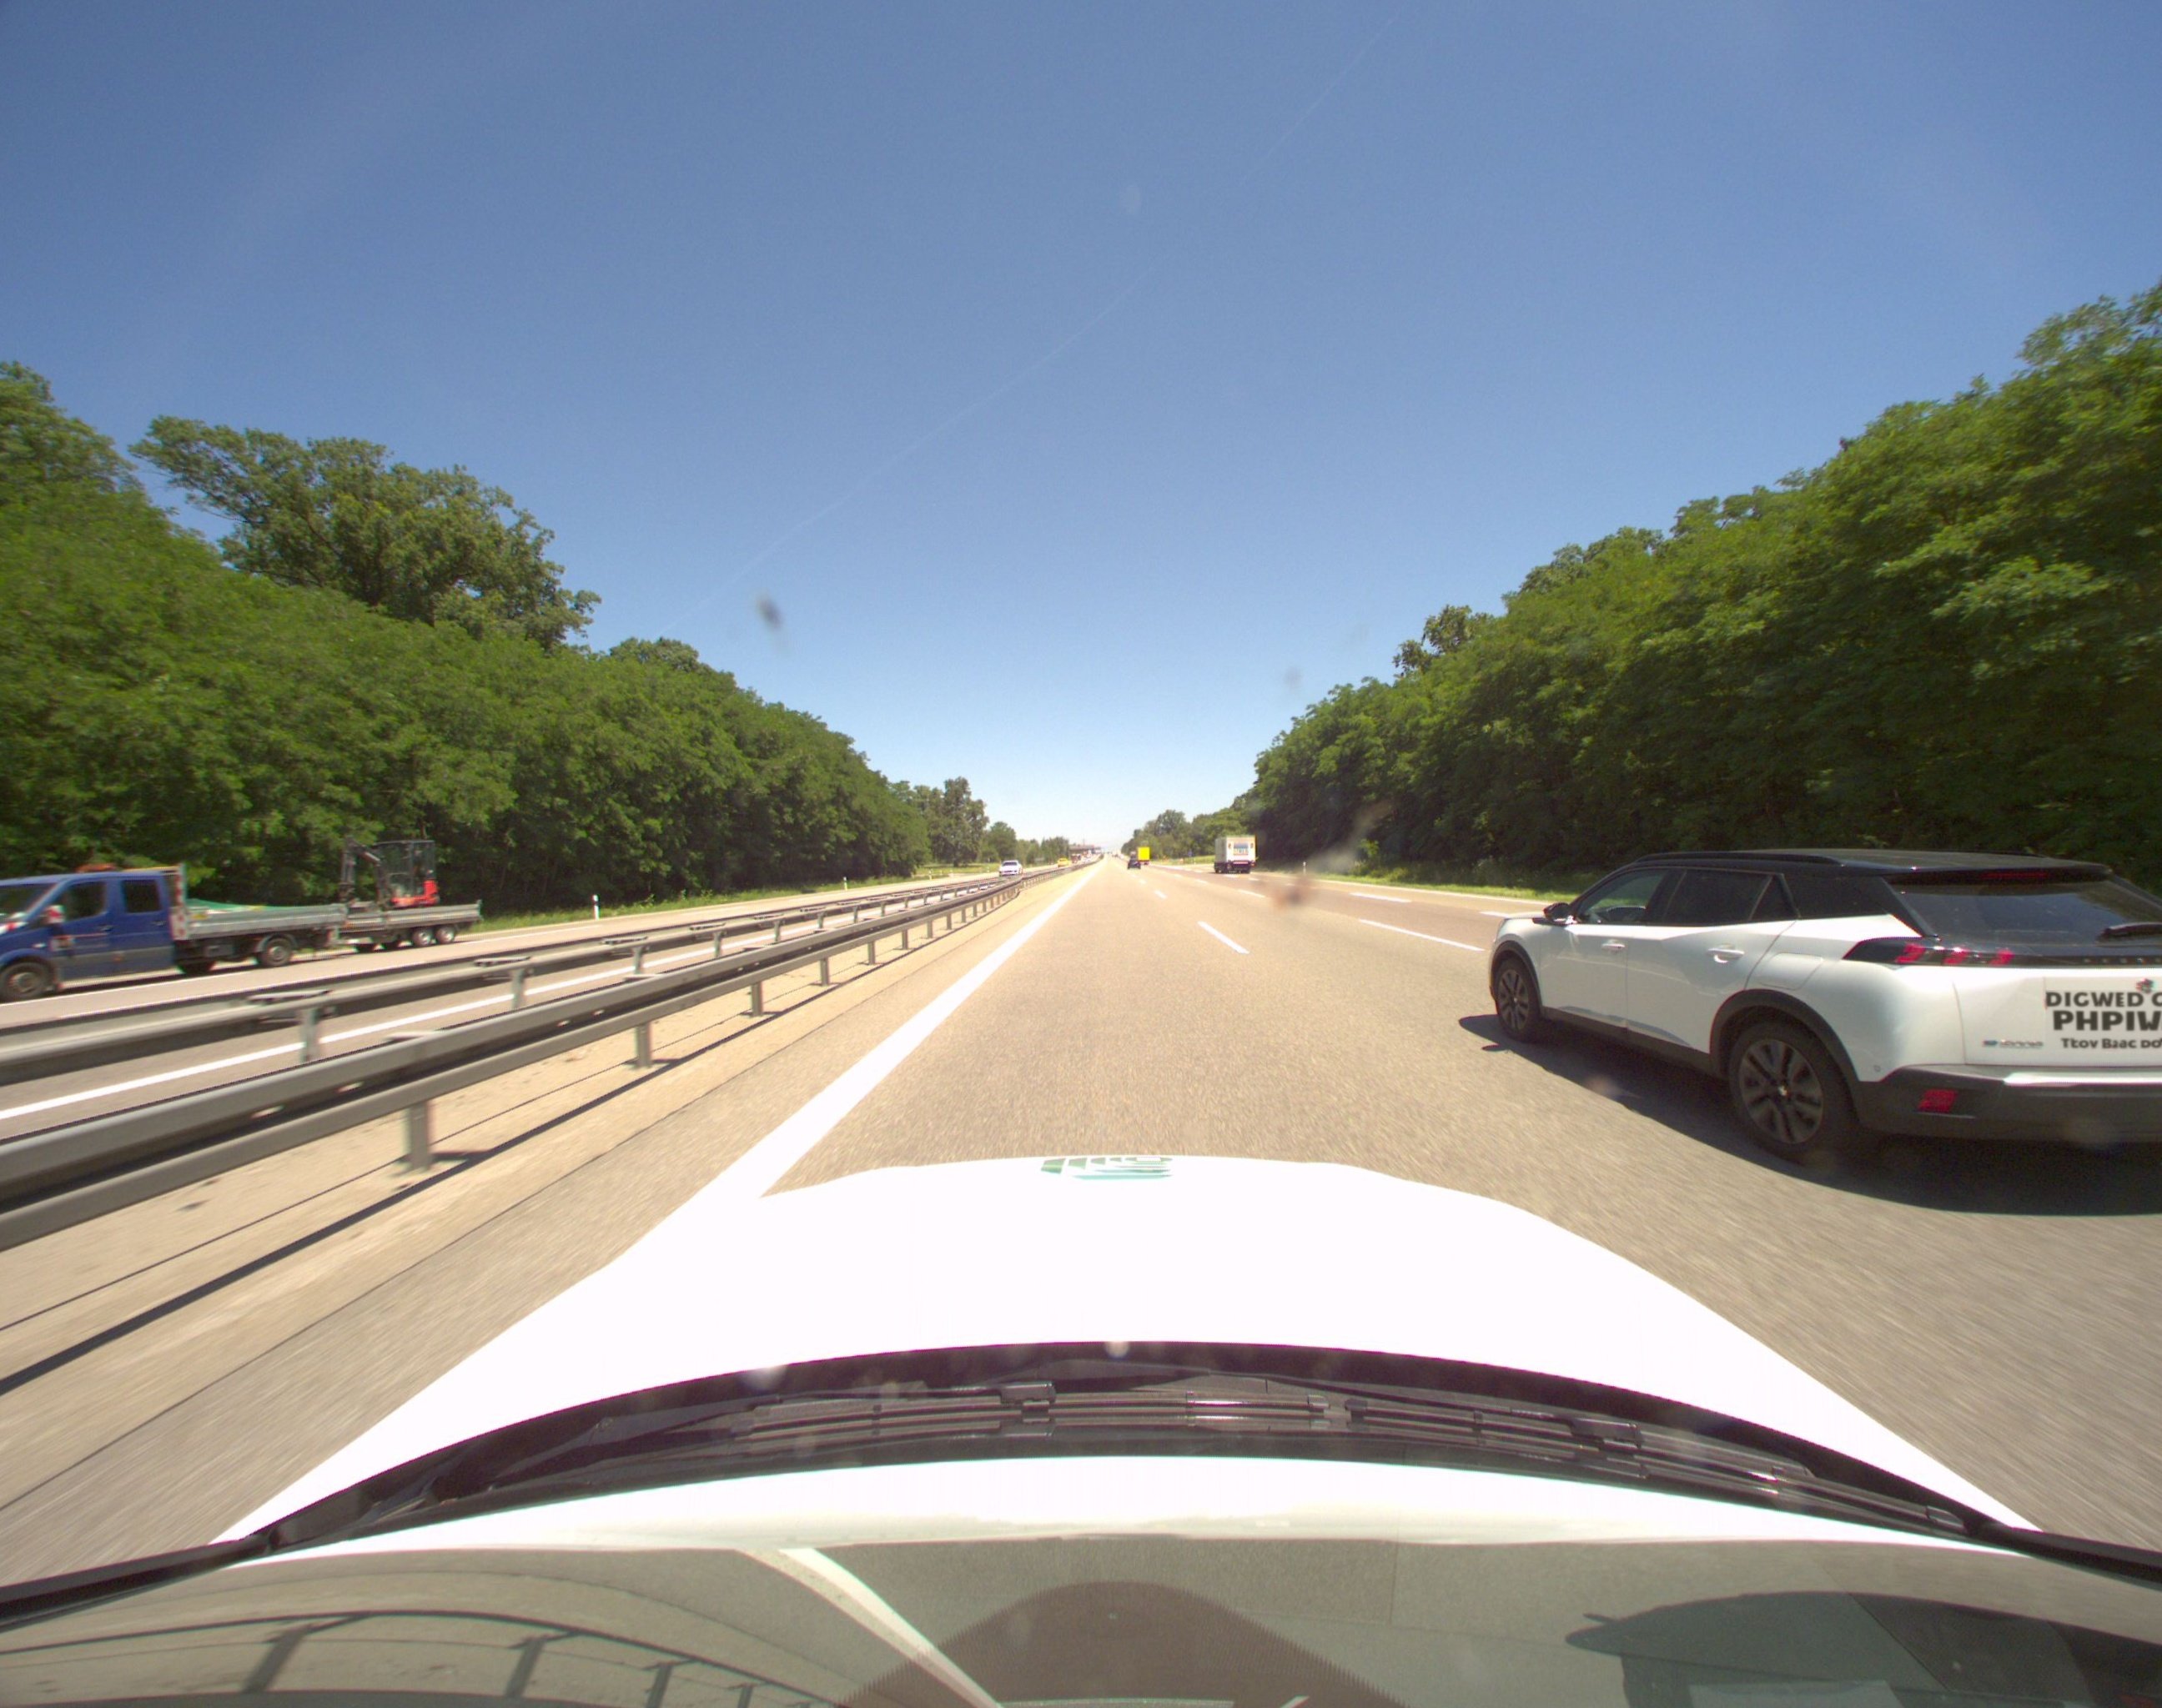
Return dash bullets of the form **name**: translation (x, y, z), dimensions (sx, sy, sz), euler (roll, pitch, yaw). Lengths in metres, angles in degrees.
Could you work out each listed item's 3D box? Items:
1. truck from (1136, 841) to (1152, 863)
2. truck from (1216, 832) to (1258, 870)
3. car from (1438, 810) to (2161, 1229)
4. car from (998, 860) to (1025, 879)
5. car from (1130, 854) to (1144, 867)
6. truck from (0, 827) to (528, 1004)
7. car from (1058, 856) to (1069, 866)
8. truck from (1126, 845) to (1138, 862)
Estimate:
- **truck**: translation (15.021, -0.395, 194.793), dimensions (3.363, 4.881, 15.096), euler (-1, 0, 3)
- **truck**: translation (14.632, -0.197, 76.902), dimensions (3.013, 3.319, 10.789), euler (-1, 0, 6)
- **car**: translation (4.355, 0.648, 5.559), dimensions (1.820, 1.608, 4.810), euler (-1, 0, 2)
- **car**: translation (-6.863, 1.499, 81.001), dimensions (1.986, 1.706, 5.267), euler (-1, 1, 2)
- **car**: translation (7.731, 0.941, 113.284), dimensions (1.820, 1.706, 4.001), euler (-1, 0, 2)
- **truck**: translation (-19.453, 1.146, 19.841), dimensions (2.743, 2.990, 12.860), euler (-3, -1, 2)
- **car**: translation (-3.647, 1.494, 170.475), dimensions (1.986, 1.964, 5.213), euler (-1, 0, 2)
- **truck**: translation (15.060, -0.116, 240.088), dimensions (3.353, 4.881, 15.096), euler (-1, 0, 3)
